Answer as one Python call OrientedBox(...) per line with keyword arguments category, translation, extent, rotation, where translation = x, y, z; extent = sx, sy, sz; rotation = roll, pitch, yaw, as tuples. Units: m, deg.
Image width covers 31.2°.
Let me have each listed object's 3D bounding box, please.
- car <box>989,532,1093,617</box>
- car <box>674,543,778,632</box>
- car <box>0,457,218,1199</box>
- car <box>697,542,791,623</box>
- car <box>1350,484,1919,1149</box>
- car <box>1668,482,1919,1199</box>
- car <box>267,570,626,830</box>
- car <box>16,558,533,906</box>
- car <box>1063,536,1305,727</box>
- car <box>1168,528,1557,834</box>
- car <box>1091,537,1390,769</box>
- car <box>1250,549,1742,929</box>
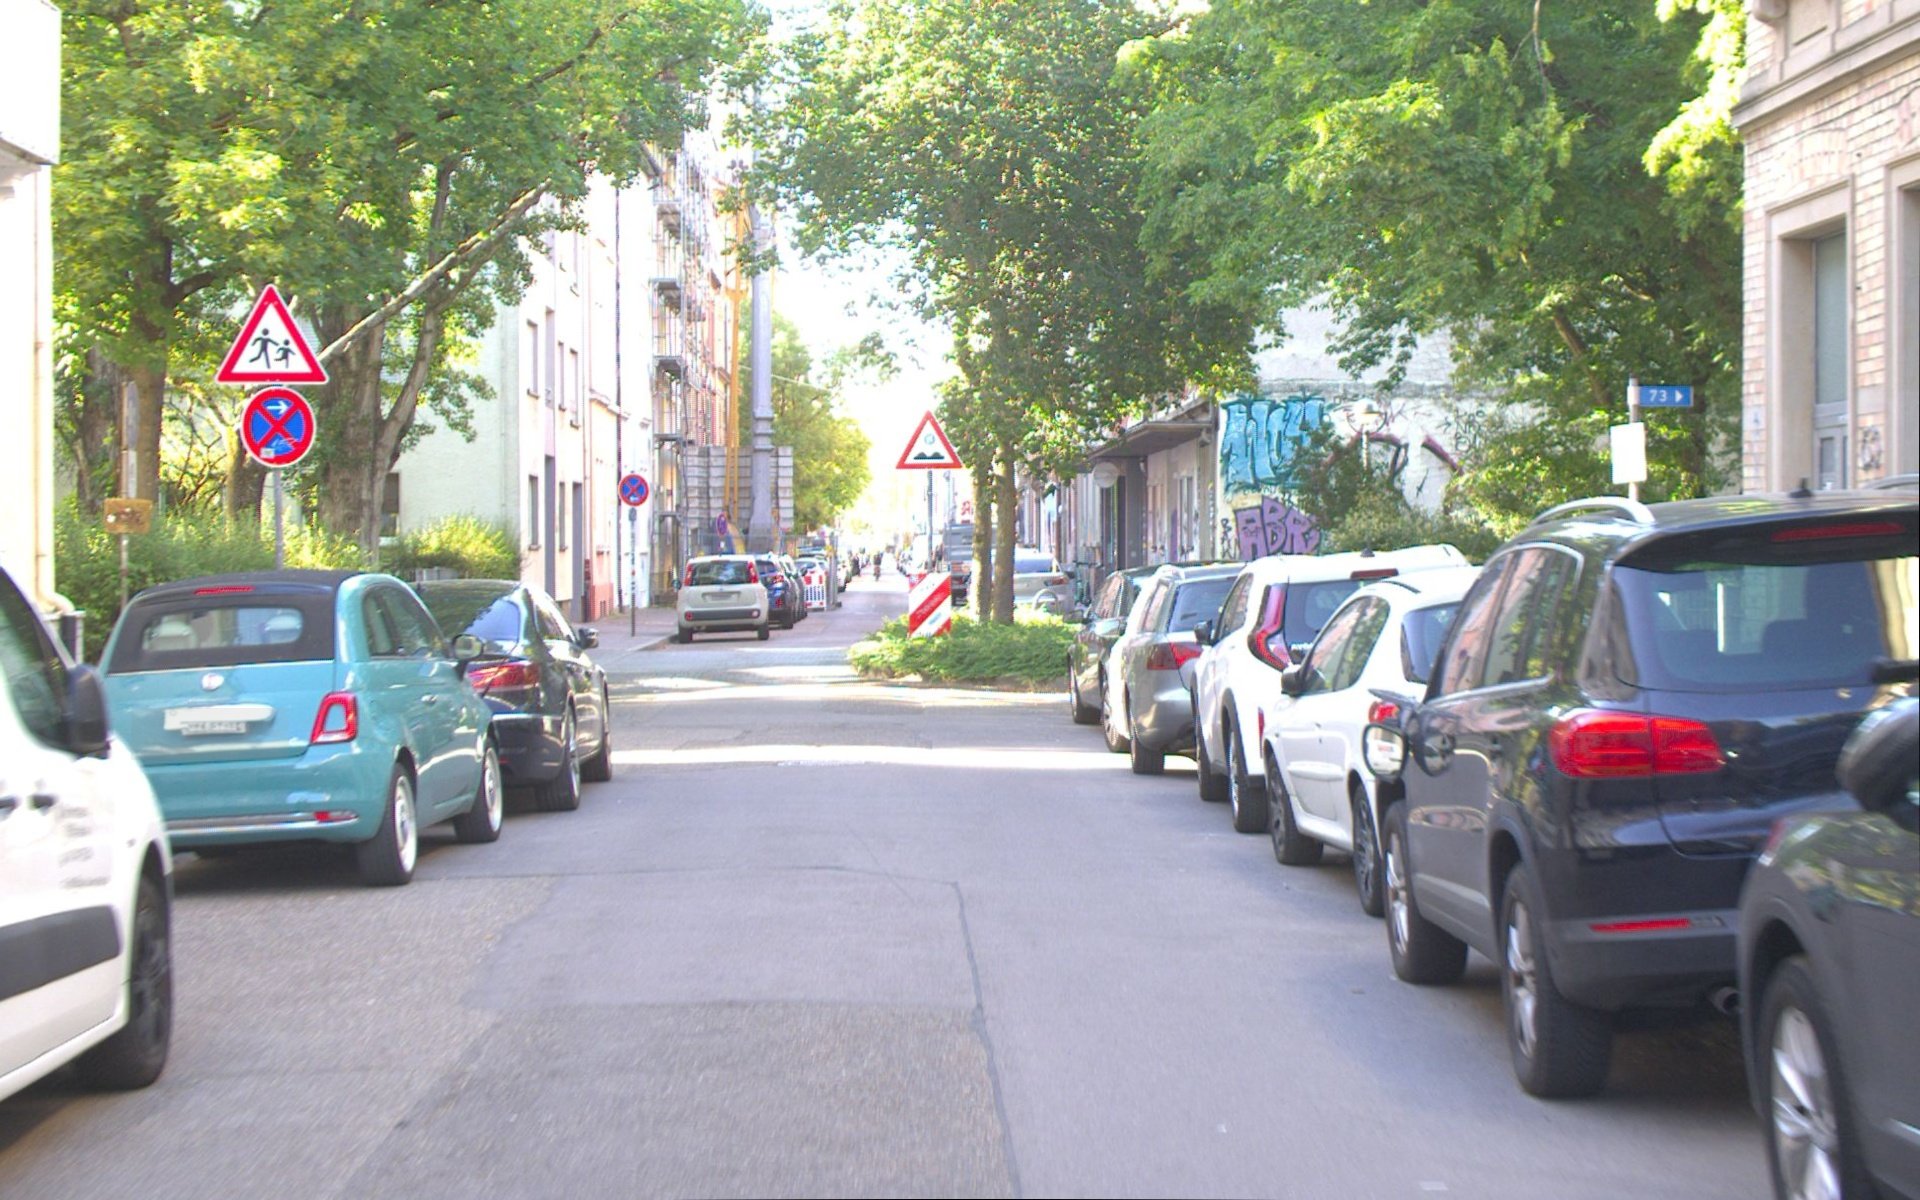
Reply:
OrientedBox(category="car", translation=(1.477, -0.497, 63.913), extent=(1.675, 1.482, 3.638), rotation=(-2, 1, -2))
OrientedBox(category="car", translation=(-4.236, -0.258, 62.633), extent=(1.675, 1.482, 4.095), rotation=(-2, 1, -2))
OrientedBox(category="car", translation=(-3.132, 0.575, 8.501), extent=(1.765, 1.779, 4.039), rotation=(-2, 1, -2))
OrientedBox(category="car", translation=(-4.235, -0.369, 67.911), extent=(1.675, 1.482, 4.095), rotation=(-2, 1, -2))
OrientedBox(category="car", translation=(2.336, 0.532, 10.892), extent=(1.676, 1.676, 4.095), rotation=(-2, 0, 0))
OrientedBox(category="car", translation=(2.556, 0.556, 5.670), extent=(1.676, 1.621, 4.251), rotation=(-4, 1, -2))
OrientedBox(category="car", translation=(-3.099, 0.549, 21.463), extent=(1.670, 1.356, 4.049), rotation=(-2, 1, -1))
OrientedBox(category="car", translation=(-3.318, 0.571, 17.357), extent=(1.670, 1.464, 3.820), rotation=(-2, 1, 2))
OrientedBox(category="car", translation=(1.887, 0.217, 30.017), extent=(1.675, 1.482, 4.095), rotation=(-2, 1, -2))
OrientedBox(category="car", translation=(2.249, 0.388, 20.115), extent=(1.675, 1.556, 3.796), rotation=(-2, 1, -2))
OrientedBox(category="car", translation=(1.953, 0.317, 25.016), extent=(1.675, 1.482, 4.095), rotation=(-2, 1, -2))
OrientedBox(category="car", translation=(2.352, 0.542, 15.905), extent=(1.566, 1.478, 3.619), rotation=(-2, 1, -2))
